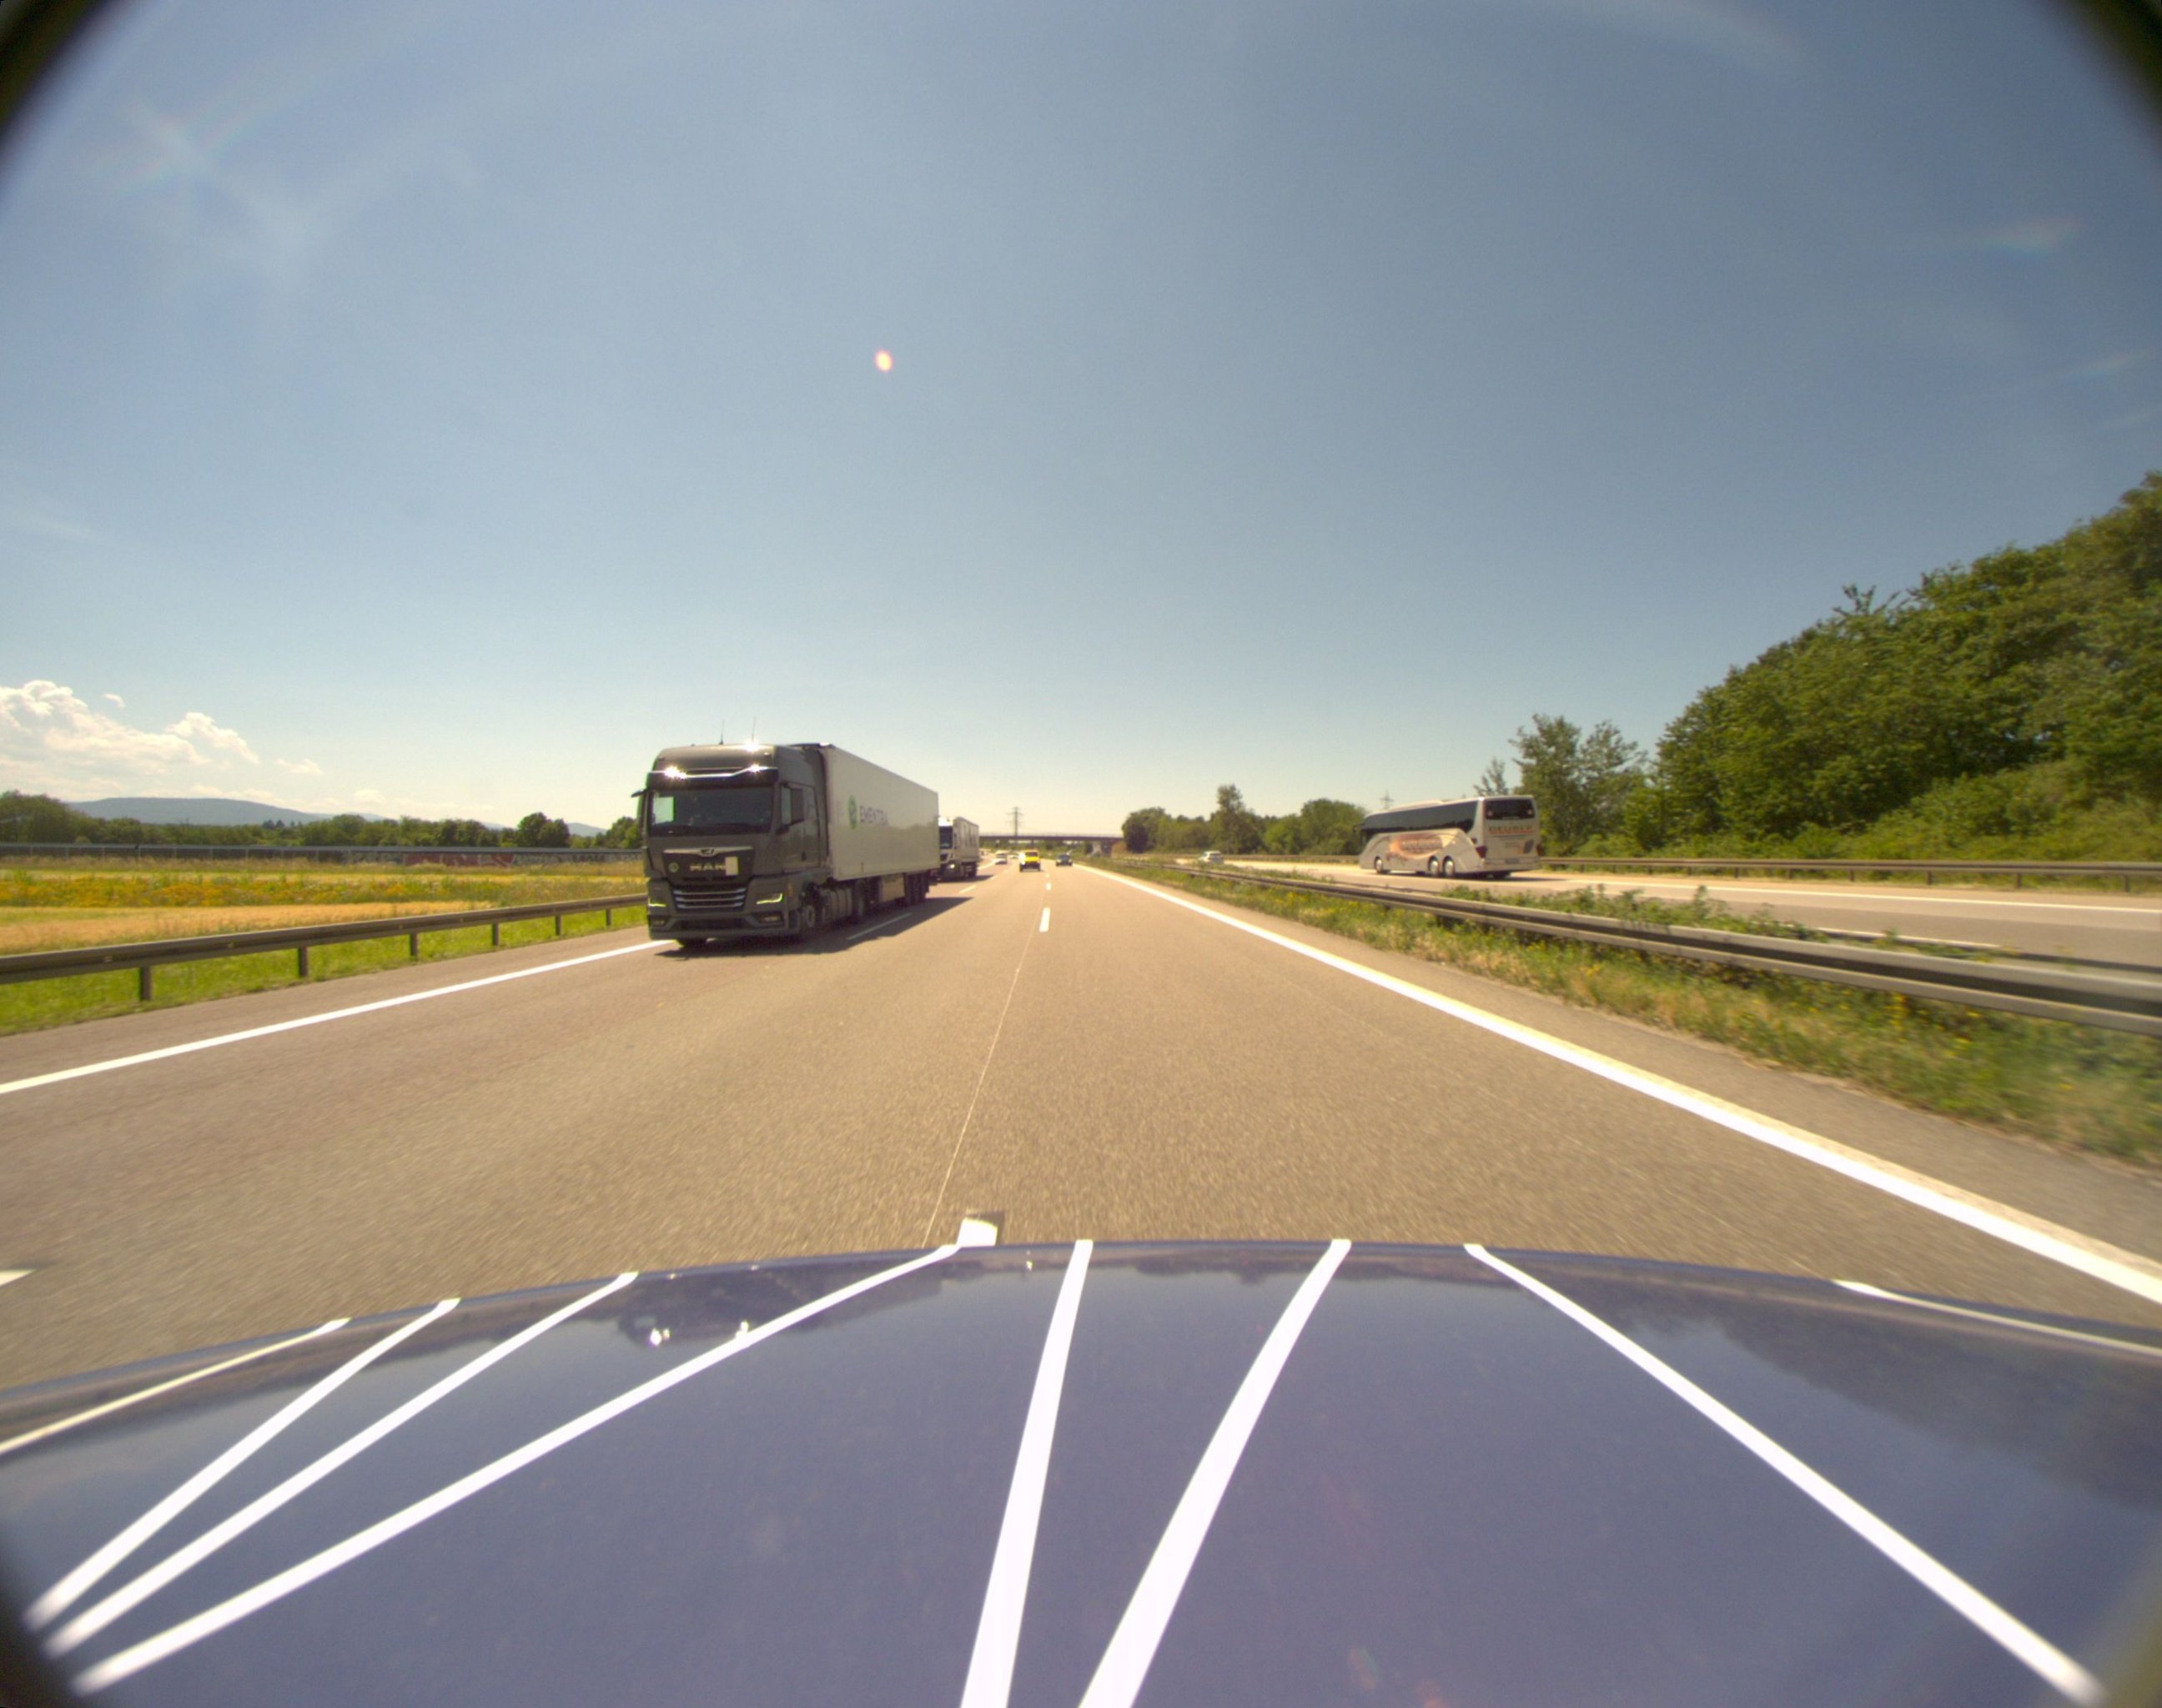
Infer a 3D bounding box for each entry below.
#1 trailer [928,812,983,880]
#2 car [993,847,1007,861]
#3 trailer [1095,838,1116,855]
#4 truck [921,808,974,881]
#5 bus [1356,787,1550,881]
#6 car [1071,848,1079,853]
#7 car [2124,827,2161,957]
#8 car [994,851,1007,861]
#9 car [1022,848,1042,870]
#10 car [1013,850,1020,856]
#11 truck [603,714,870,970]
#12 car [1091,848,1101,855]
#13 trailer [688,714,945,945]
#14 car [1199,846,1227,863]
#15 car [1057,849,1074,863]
[{"bbox_3d":[-8.854,-0.529,55.100,2.603,4.227,13.634,-2,0,-4],"label":"trailer"},{"bbox_3d":[-13.851,-0.013,129.691,2.190,2.253,4.946,0,1,-10],"label":"car"},{"bbox_3d":[5.991,-1.880,189.486,2.889,3.925,14.046,-1,1,-7],"label":"trailer"},{"bbox_3d":[-8.257,-0.532,47.593,2.608,4.231,5.087,-2,0,-4],"label":"truck"},{"bbox_3d":[17.416,-0.873,37.210,2.748,3.686,12.996,-2,1,-1],"label":"bus"},{"bbox_3d":[-1.837,-1.022,225.808,1.848,1.577,4.485,-1,1,-5],"label":"car"},{"bbox_3d":[14.419,0.475,7.541,1.830,1.622,4.558,-1,1,-1],"label":"car"},{"bbox_3d":[-13.011,0.280,123.123,1.785,1.467,3.996,0,1,-10],"label":"car"},{"bbox_3d":[-4.507,0.442,69.485,1.777,1.882,3.830,0,1,-5],"label":"car"},{"bbox_3d":[-18.072,-0.378,214.260,1.650,1.557,3.596,0,1,-10],"label":"car"},{"bbox_3d":[-6.497,-0.214,15.305,2.915,4.231,4.974,-2,1,0],"label":"truck"},{"bbox_3d":[3.285,-0.532,171.090,1.787,1.509,4.499,-1,1,-4],"label":"car"},{"bbox_3d":[-6.650,-0.555,22.549,2.909,4.630,13.982,-2,1,-1],"label":"trailer"},{"bbox_3d":[12.480,0.063,72.199,1.772,1.506,4.330,-2,1,-1],"label":"car"},{"bbox_3d":[-1.821,0.219,90.148,1.726,1.478,3.998,-1,1,-5],"label":"car"}]
